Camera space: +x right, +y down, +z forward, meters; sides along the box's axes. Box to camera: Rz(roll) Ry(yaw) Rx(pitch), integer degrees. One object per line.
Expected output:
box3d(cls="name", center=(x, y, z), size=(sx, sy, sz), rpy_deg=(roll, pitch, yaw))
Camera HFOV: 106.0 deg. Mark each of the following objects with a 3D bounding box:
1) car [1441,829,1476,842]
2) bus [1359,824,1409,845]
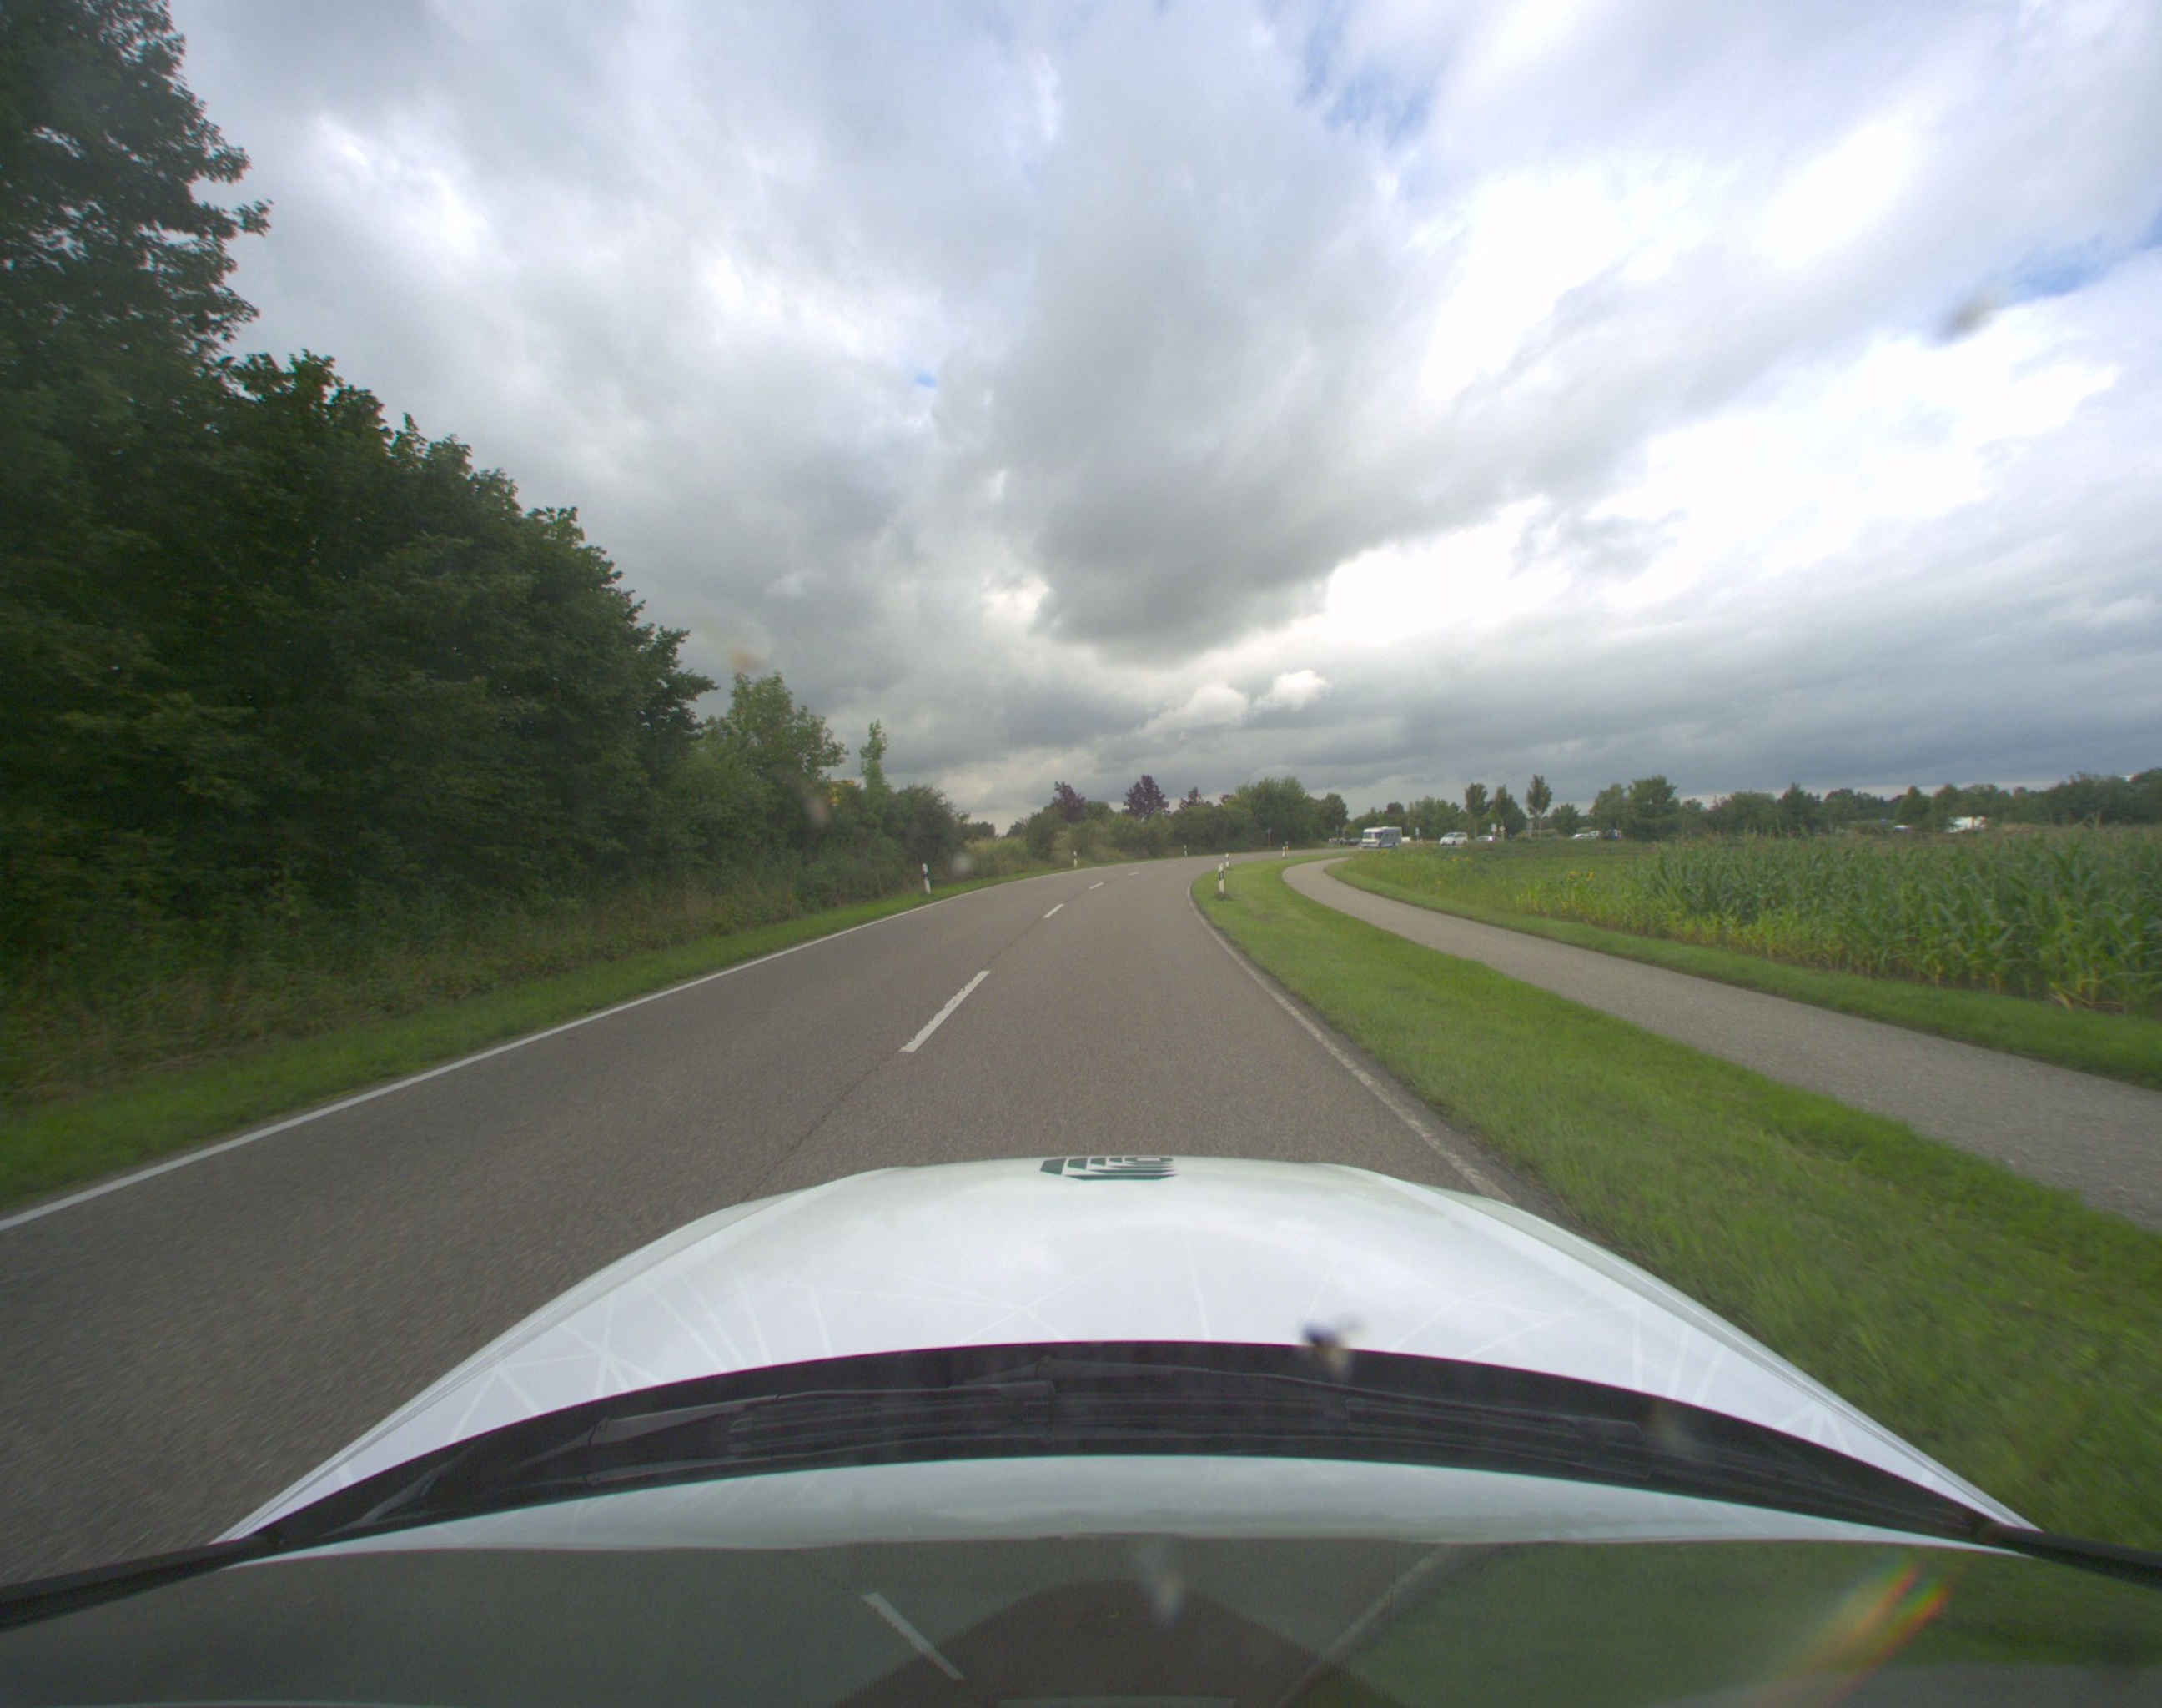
box3d(cls="car", center=(56.149, -2.761, 121.113), size=(5.203, 1.868, 2.099), rpy_deg=(-2, 1, -31))
box3d(cls="bus", center=(40.593, -2.668, 108.798), size=(8.475, 2.711, 2.454), rpy_deg=(-2, 1, -41))
